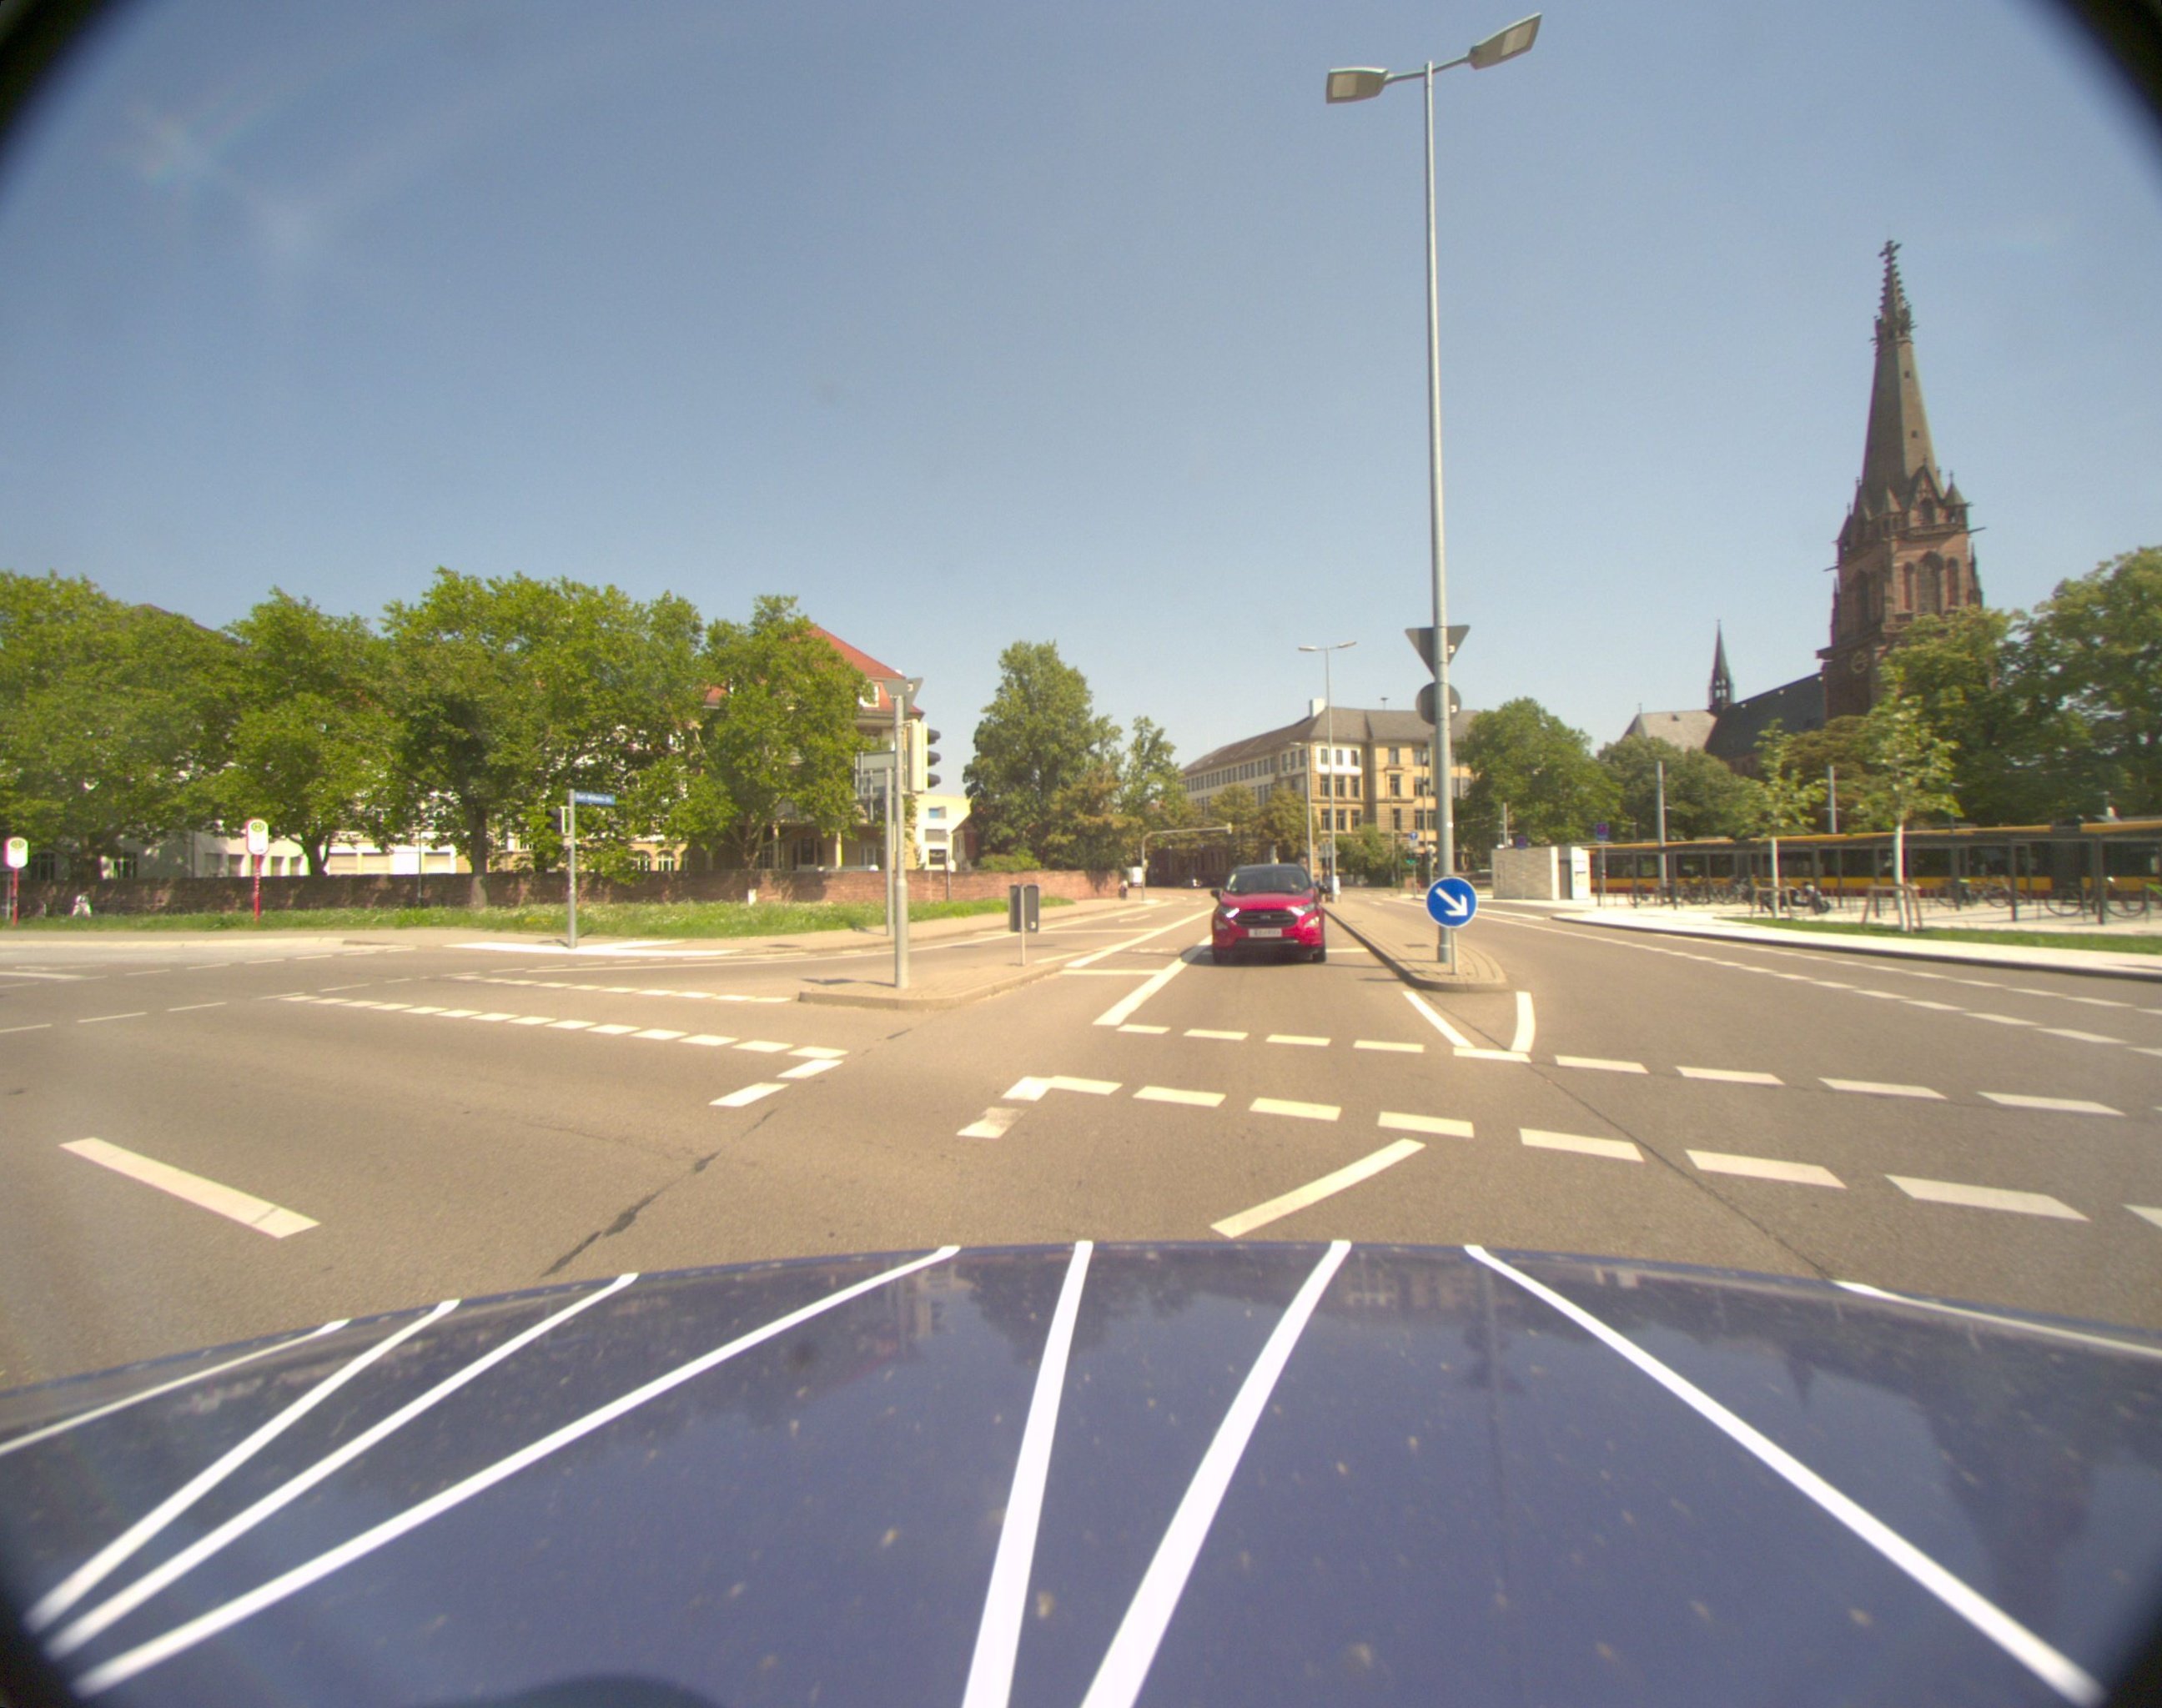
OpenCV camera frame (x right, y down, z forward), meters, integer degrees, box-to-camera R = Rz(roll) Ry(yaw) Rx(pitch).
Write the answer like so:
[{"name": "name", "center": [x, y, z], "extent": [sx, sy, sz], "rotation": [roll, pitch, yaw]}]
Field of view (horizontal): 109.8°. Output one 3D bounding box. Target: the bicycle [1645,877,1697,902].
[{"name": "bicycle", "center": [25.320, 1.516, 32.644], "extent": [0.527, 1.033, 1.768], "rotation": [0, -2, -18]}]

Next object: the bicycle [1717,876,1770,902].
[{"name": "bicycle", "center": [27.160, 1.428, 31.161], "extent": [0.413, 1.034, 1.639], "rotation": [0, -2, -18]}]

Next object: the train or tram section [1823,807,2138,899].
[{"name": "train or tram section", "center": [39.800, 0.165, 34.232], "extent": [3.165, 3.575, 8.515], "rotation": [0, -3, -20]}]

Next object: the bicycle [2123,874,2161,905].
[{"name": "bicycle", "center": [33.952, 1.104, 23.566], "extent": [0.514, 0.979, 1.854], "rotation": [0, -2, -22]}]

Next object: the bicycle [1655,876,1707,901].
[{"name": "bicycle", "center": [25.974, 1.489, 32.916], "extent": [0.527, 1.033, 1.768], "rotation": [0, -2, -18]}]

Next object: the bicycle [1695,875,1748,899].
[{"name": "bicycle", "center": [28.704, 1.456, 34.087], "extent": [0.527, 1.033, 1.768], "rotation": [0, -2, -18]}]

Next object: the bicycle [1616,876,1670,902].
[{"name": "bicycle", "center": [24.003, 1.493, 32.484], "extent": [0.527, 1.075, 1.863], "rotation": [0, -2, -18]}]

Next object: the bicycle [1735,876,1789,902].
[{"name": "bicycle", "center": [28.043, 1.419, 31.304], "extent": [0.413, 1.034, 1.639], "rotation": [0, -2, -18]}]

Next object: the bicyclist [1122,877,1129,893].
[{"name": "bicyclist", "center": [3.508, 2.440, 59.465], "extent": [0.432, 1.225, 0.541], "rotation": [-1, -1, 12]}]

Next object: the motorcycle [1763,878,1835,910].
[{"name": "motorcycle", "center": [24.974, 1.388, 26.469], "extent": [0.492, 1.062, 1.777], "rotation": [0, -2, -17]}]

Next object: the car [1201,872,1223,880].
[{"name": "car", "center": [19.926, 3.405, 115.420], "extent": [3.062, 1.169, 1.249], "rotation": [0, -1, -24]}]

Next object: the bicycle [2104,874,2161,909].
[{"name": "bicycle", "center": [32.433, 1.128, 22.967], "extent": [0.514, 1.034, 1.731], "rotation": [0, -2, -33]}]

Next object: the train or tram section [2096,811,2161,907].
[{"name": "train or tram section", "center": [42.684, 0.091, 26.395], "extent": [3.165, 3.575, 8.235], "rotation": [0, -3, -20]}]

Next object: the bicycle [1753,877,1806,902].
[{"name": "bicycle", "center": [29.488, 1.502, 32.110], "extent": [0.413, 1.034, 1.639], "rotation": [0, -2, -18]}]

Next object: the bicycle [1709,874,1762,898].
[{"name": "bicycle", "center": [29.770, 1.445, 34.593], "extent": [0.527, 1.033, 1.768], "rotation": [0, -2, -18]}]

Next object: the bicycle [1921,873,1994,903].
[{"name": "bicycle", "center": [31.215, 1.217, 27.092], "extent": [0.413, 1.034, 1.639], "rotation": [0, -2, -18]}]

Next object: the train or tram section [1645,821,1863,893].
[{"name": "train or tram section", "center": [36.870, 0.364, 42.213], "extent": [3.165, 3.575, 8.515], "rotation": [0, -3, -20]}]

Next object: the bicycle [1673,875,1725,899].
[{"name": "bicycle", "center": [27.420, 1.466, 33.757], "extent": [0.527, 1.033, 1.768], "rotation": [0, -2, -18]}]

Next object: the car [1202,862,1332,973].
[{"name": "car", "center": [3.225, 0.988, 13.130], "extent": [1.842, 1.604, 4.006], "rotation": [-1, -2, 15]}]

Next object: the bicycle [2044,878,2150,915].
[{"name": "bicycle", "center": [29.159, 1.202, 21.843], "extent": [0.514, 1.034, 1.731], "rotation": [0, -2, -27]}]

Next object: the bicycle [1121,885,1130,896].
[{"name": "bicycle", "center": [3.502, 2.864, 59.411], "extent": [0.436, 0.807, 1.488], "rotation": [-1, -1, 13]}]

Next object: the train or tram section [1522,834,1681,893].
[{"name": "train or tram section", "center": [33.966, 0.780, 50.117], "extent": [3.141, 3.538, 8.317], "rotation": [1, -3, -20]}]

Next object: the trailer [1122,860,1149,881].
[{"name": "trailer", "center": [8.819, 2.698, 123.692], "extent": [2.445, 3.268, 5.080], "rotation": [-1, -1, -22]}]

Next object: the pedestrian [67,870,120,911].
[{"name": "pedestrian", "center": [-49.990, 1.840, 38.478], "extent": [1.234, 2.001, 1.072], "rotation": [-1, -1, -4]}]
